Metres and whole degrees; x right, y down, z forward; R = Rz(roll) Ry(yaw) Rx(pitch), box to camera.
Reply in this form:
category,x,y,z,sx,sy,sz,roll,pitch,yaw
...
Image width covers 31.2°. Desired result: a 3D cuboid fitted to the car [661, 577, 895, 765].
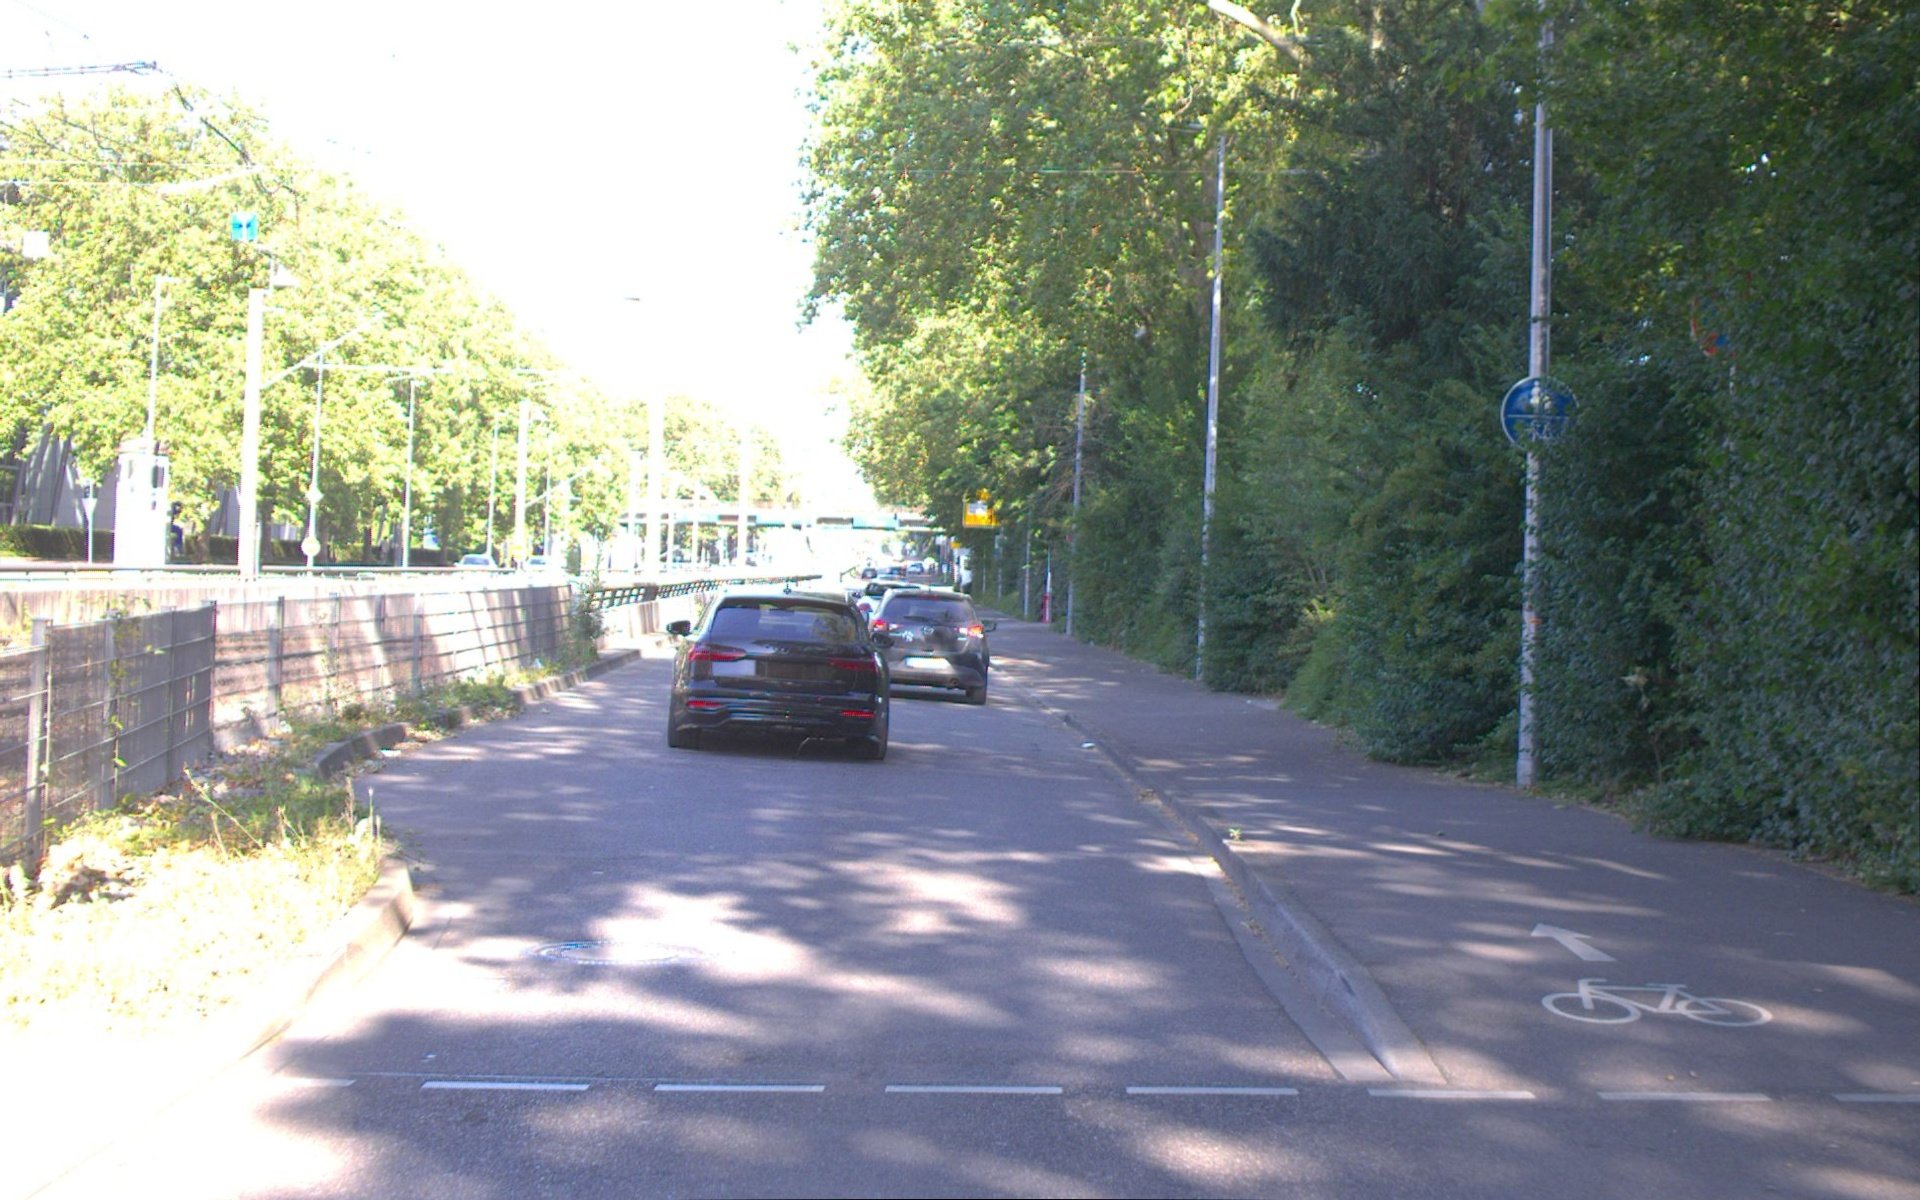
category,x,y,z,sx,sy,sz,roll,pitch,yaw
car,-1.598,0.578,30.153,1.878,1.452,3.357,2,1,-3

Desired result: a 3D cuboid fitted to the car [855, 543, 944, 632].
category,x,y,z,sx,sy,sz,roll,pitch,yaw
car,-1.421,-0.312,81.765,1.993,2.007,4.000,2,1,-1

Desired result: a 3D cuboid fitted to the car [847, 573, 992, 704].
category,x,y,z,sx,sy,sz,roll,pitch,yaw
car,-0.592,0.492,46.723,1.762,1.614,4.001,2,1,-3
